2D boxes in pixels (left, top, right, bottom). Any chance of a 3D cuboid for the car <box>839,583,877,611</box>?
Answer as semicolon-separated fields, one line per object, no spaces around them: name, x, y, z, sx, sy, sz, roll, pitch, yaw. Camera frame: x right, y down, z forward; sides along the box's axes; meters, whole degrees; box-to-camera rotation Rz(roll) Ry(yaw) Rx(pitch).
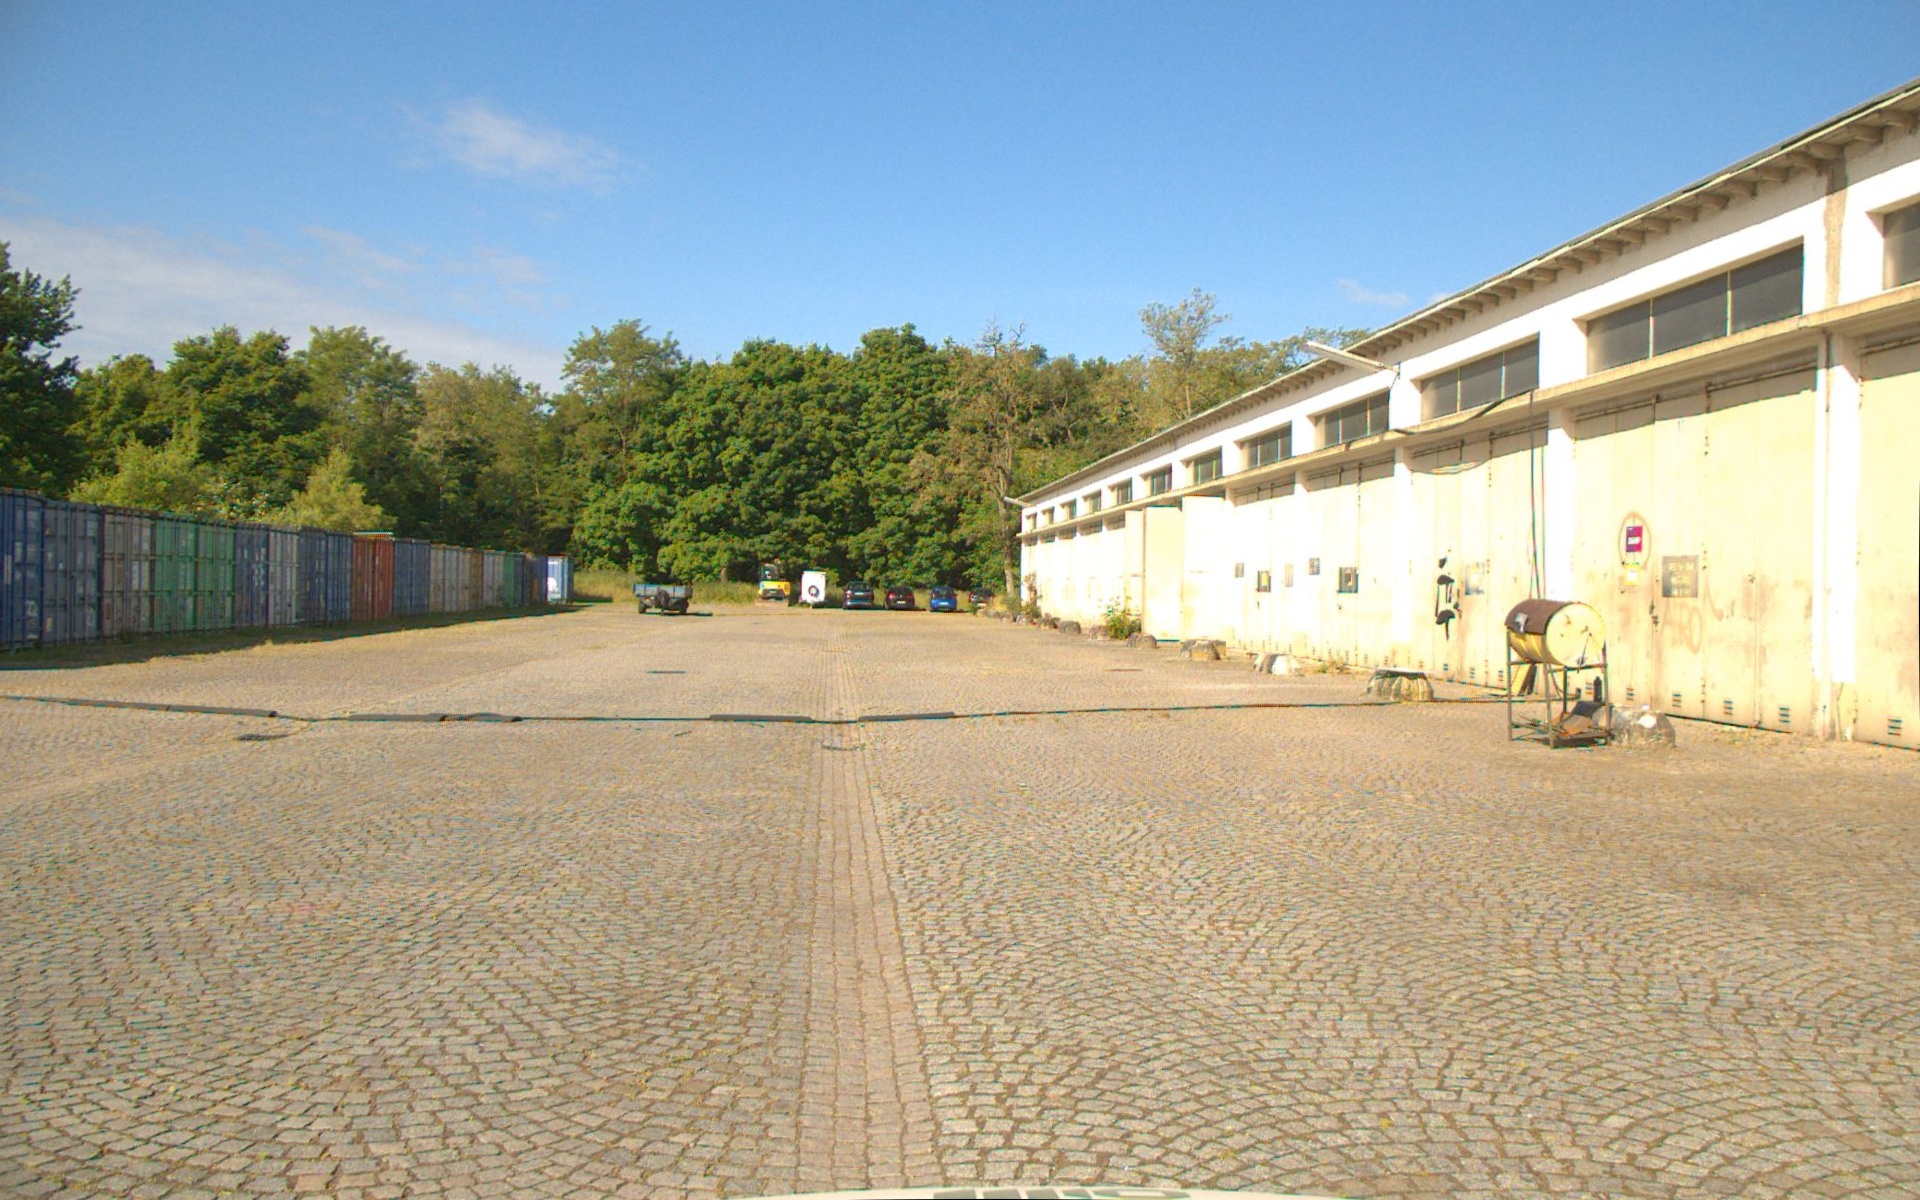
car;-6.013;-0.173;98.094;1.823;1.613;4.001;1;0;2

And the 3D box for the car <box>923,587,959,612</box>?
car;-1.100;-0.045;98.866;1.952;1.445;4.001;1;0;2

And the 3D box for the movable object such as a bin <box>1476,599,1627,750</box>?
movable object such as a bin;5.556;0.675;15.608;0.808;1.355;1.277;1;0;-10

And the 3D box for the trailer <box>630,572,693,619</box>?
trailer;-14.422;-0.224;80.099;2.359;2.048;4.171;3;0;-3

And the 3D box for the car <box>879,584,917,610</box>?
car;-3.677;-0.175;98.457;1.952;1.488;4.001;1;0;2

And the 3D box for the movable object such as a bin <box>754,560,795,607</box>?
movable object such as a bin;-11.156;-1.007;99.751;1.953;2.663;3.999;3;0;-1

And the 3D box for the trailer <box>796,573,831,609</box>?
trailer;-8.800;-0.554;99.685;1.757;2.126;3.971;1;0;-1

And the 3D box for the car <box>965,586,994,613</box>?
car;1.196;-0.055;100.307;1.650;1.591;4.001;1;0;2
